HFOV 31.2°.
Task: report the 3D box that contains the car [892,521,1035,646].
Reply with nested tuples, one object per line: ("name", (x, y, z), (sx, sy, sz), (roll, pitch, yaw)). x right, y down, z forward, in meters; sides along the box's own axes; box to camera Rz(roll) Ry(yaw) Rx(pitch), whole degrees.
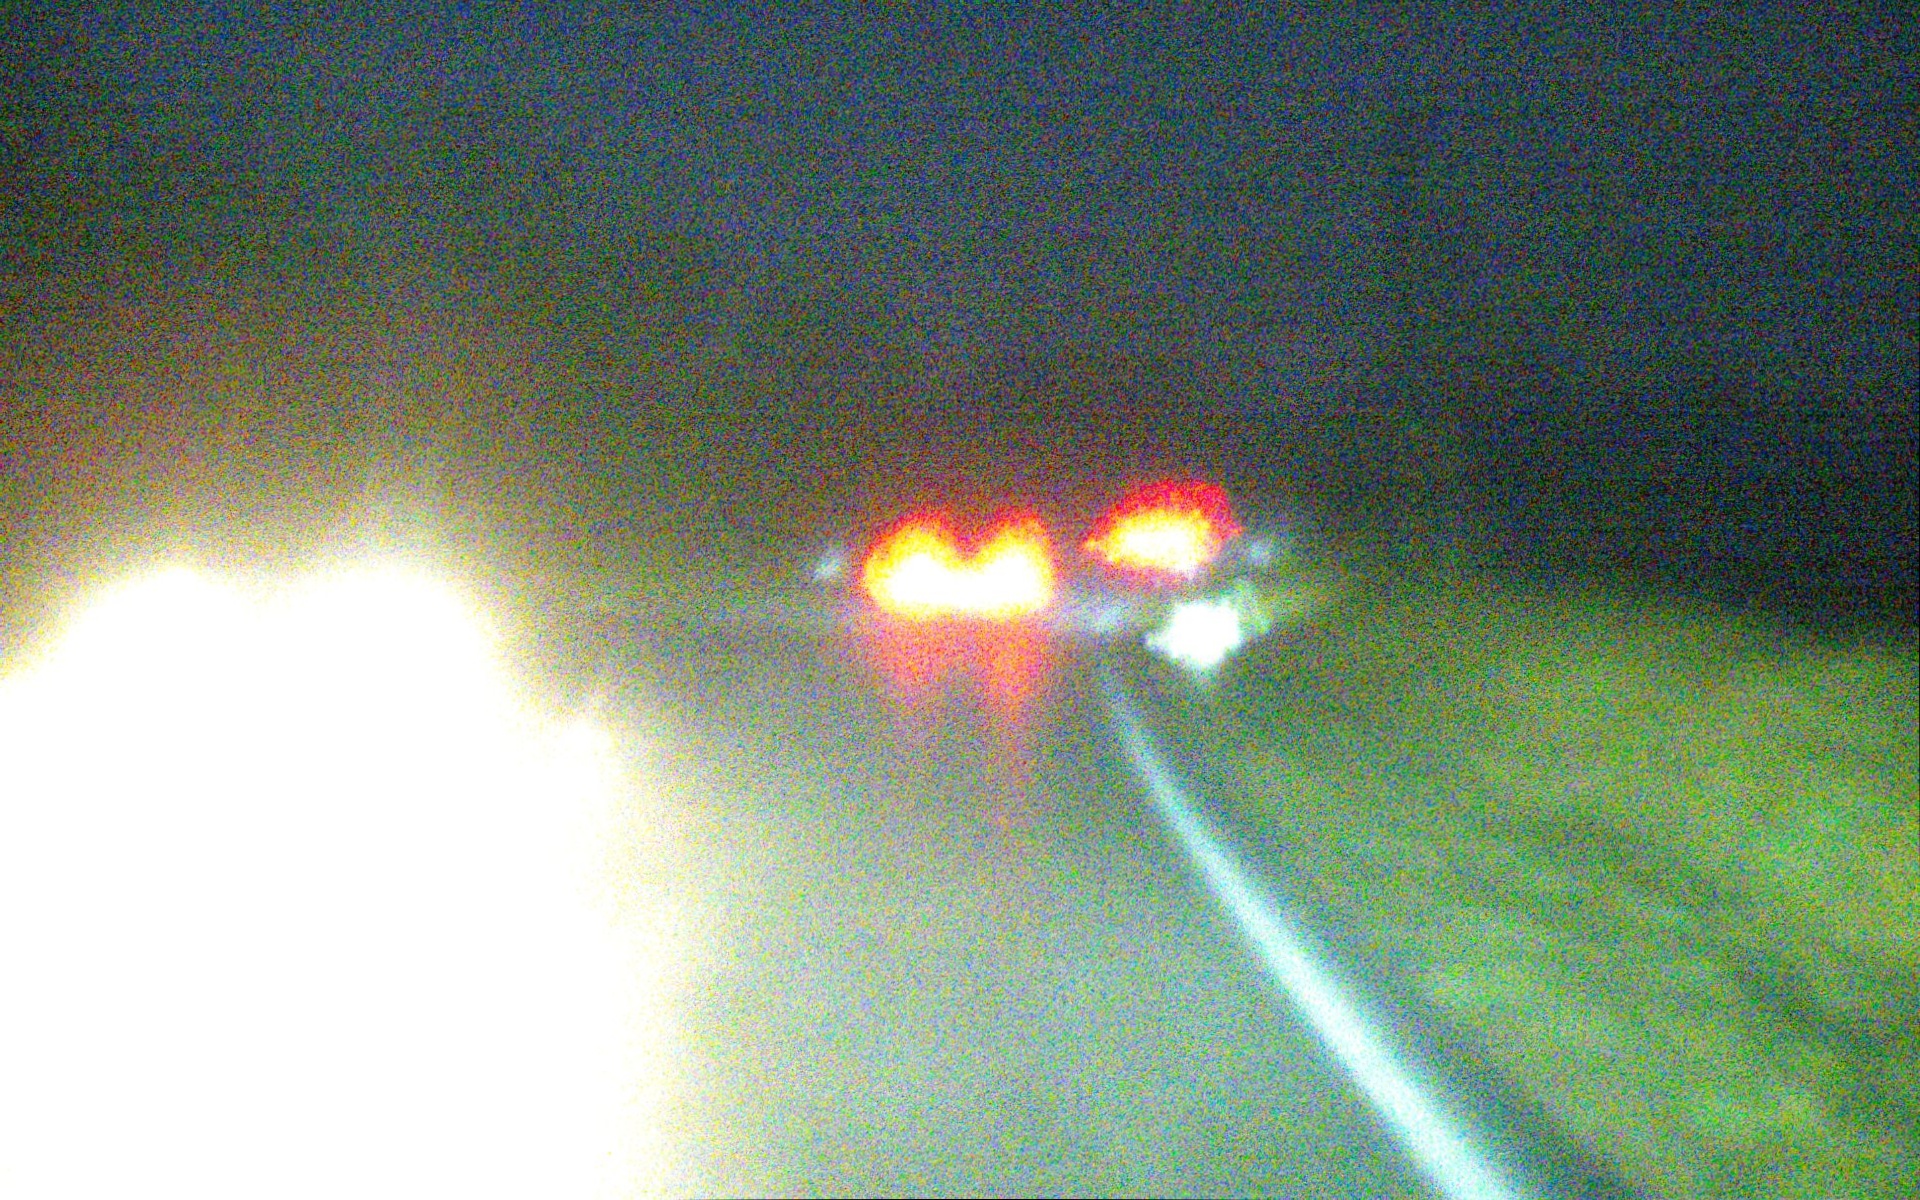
("car", (0.089, -0.279, 50.749), (1.842, 1.734, 4.000), (-1, 1, 4))

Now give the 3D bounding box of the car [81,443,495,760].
("car", (-4.668, -0.036, 24.537), (1.993, 2.007, 4.275), (-2, 1, 1))
